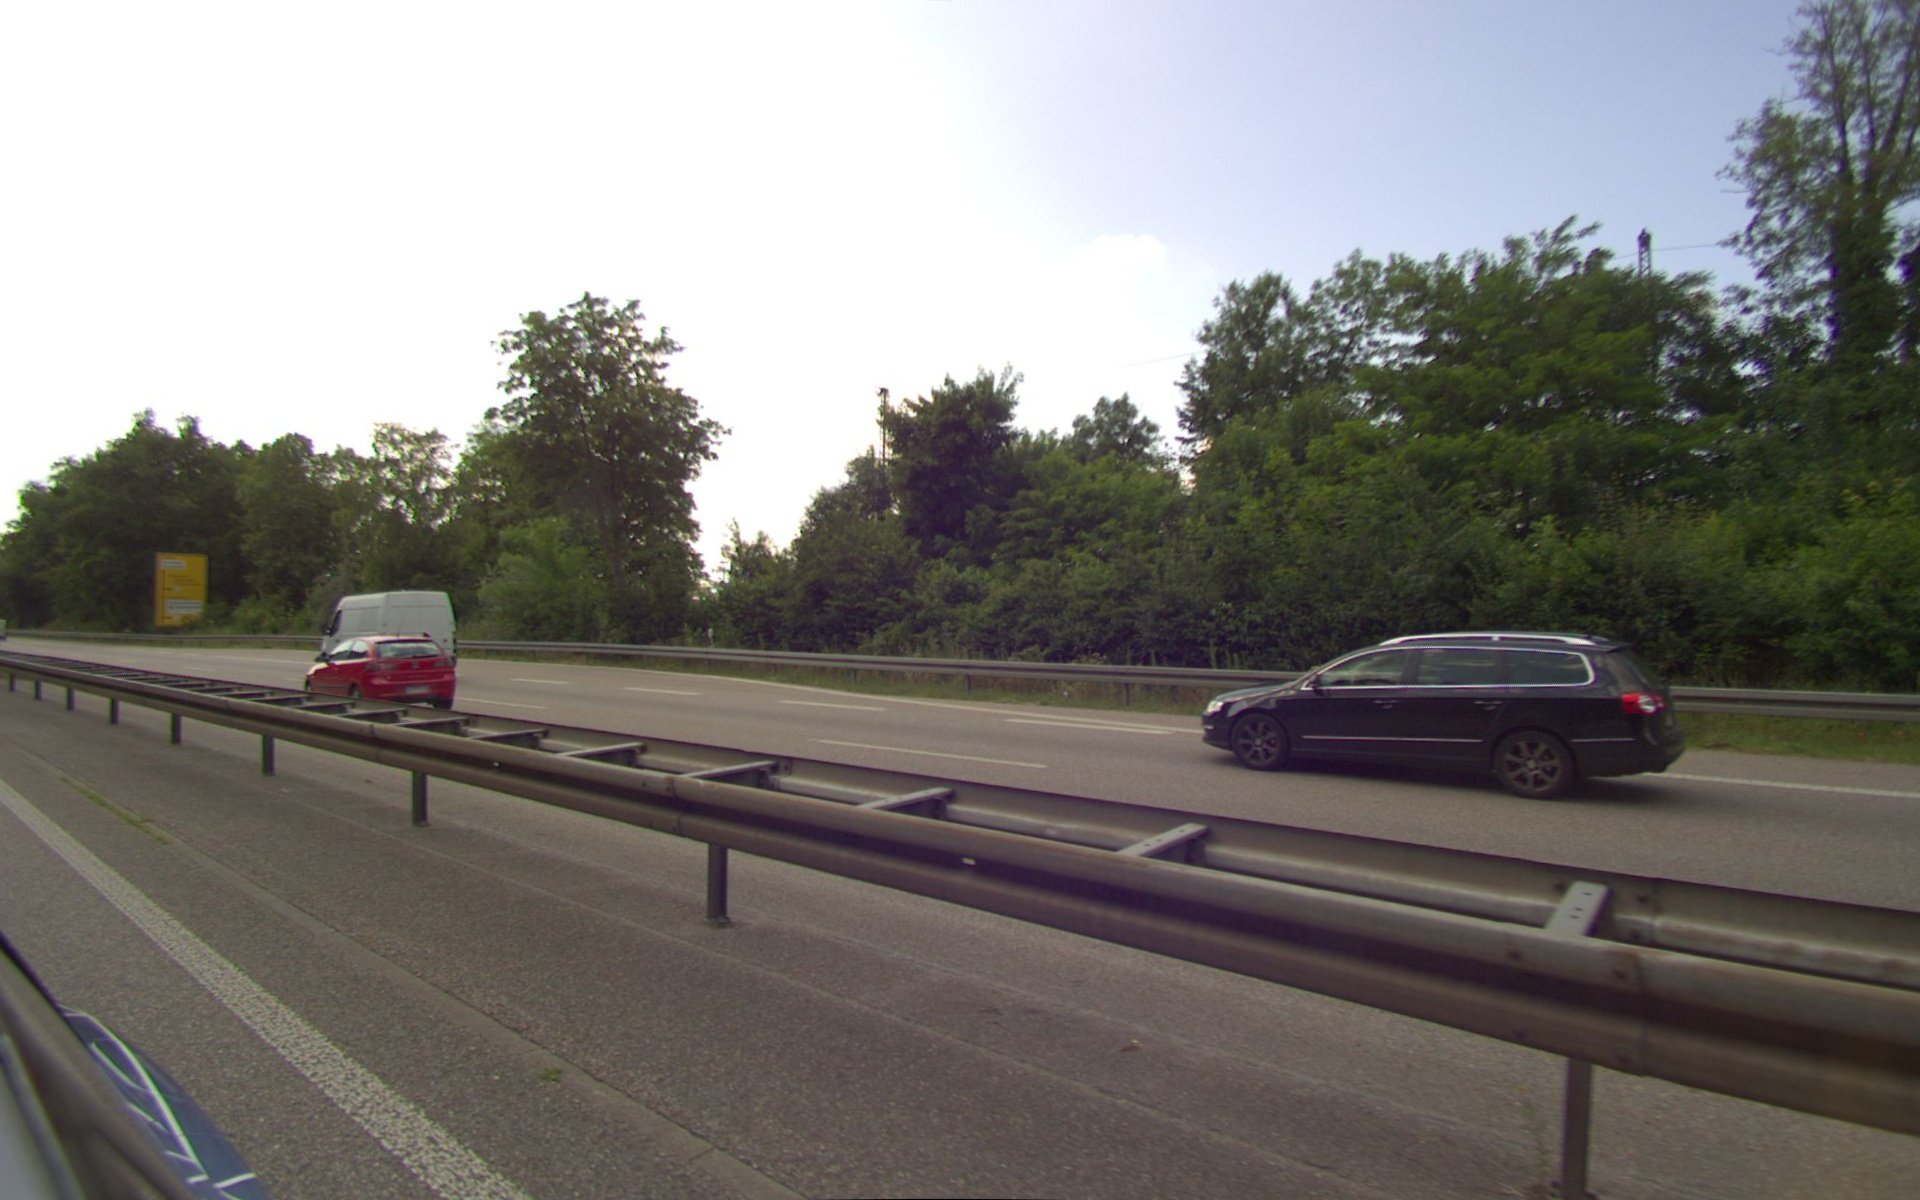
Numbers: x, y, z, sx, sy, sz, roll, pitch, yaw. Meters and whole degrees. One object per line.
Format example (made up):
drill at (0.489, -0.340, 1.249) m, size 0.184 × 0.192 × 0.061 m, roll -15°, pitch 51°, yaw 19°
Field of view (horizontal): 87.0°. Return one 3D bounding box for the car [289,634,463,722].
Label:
car at (-11.145, 1.399, 19.201) m, size 4.126 × 1.465 × 1.660 m, roll -1°, pitch -2°, yaw 42°

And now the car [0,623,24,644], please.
car at (-90.102, 3.150, 95.741) m, size 3.998 × 1.963 × 1.843 m, roll -1°, pitch -2°, yaw 41°

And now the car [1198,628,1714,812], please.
car at (5.004, 1.060, 10.653) m, size 4.568 × 1.489 × 1.767 m, roll -1°, pitch -1°, yaw 42°

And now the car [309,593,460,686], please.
car at (-16.858, 1.092, 29.478) m, size 5.829 × 2.441 × 2.089 m, roll -1°, pitch -1°, yaw 42°
